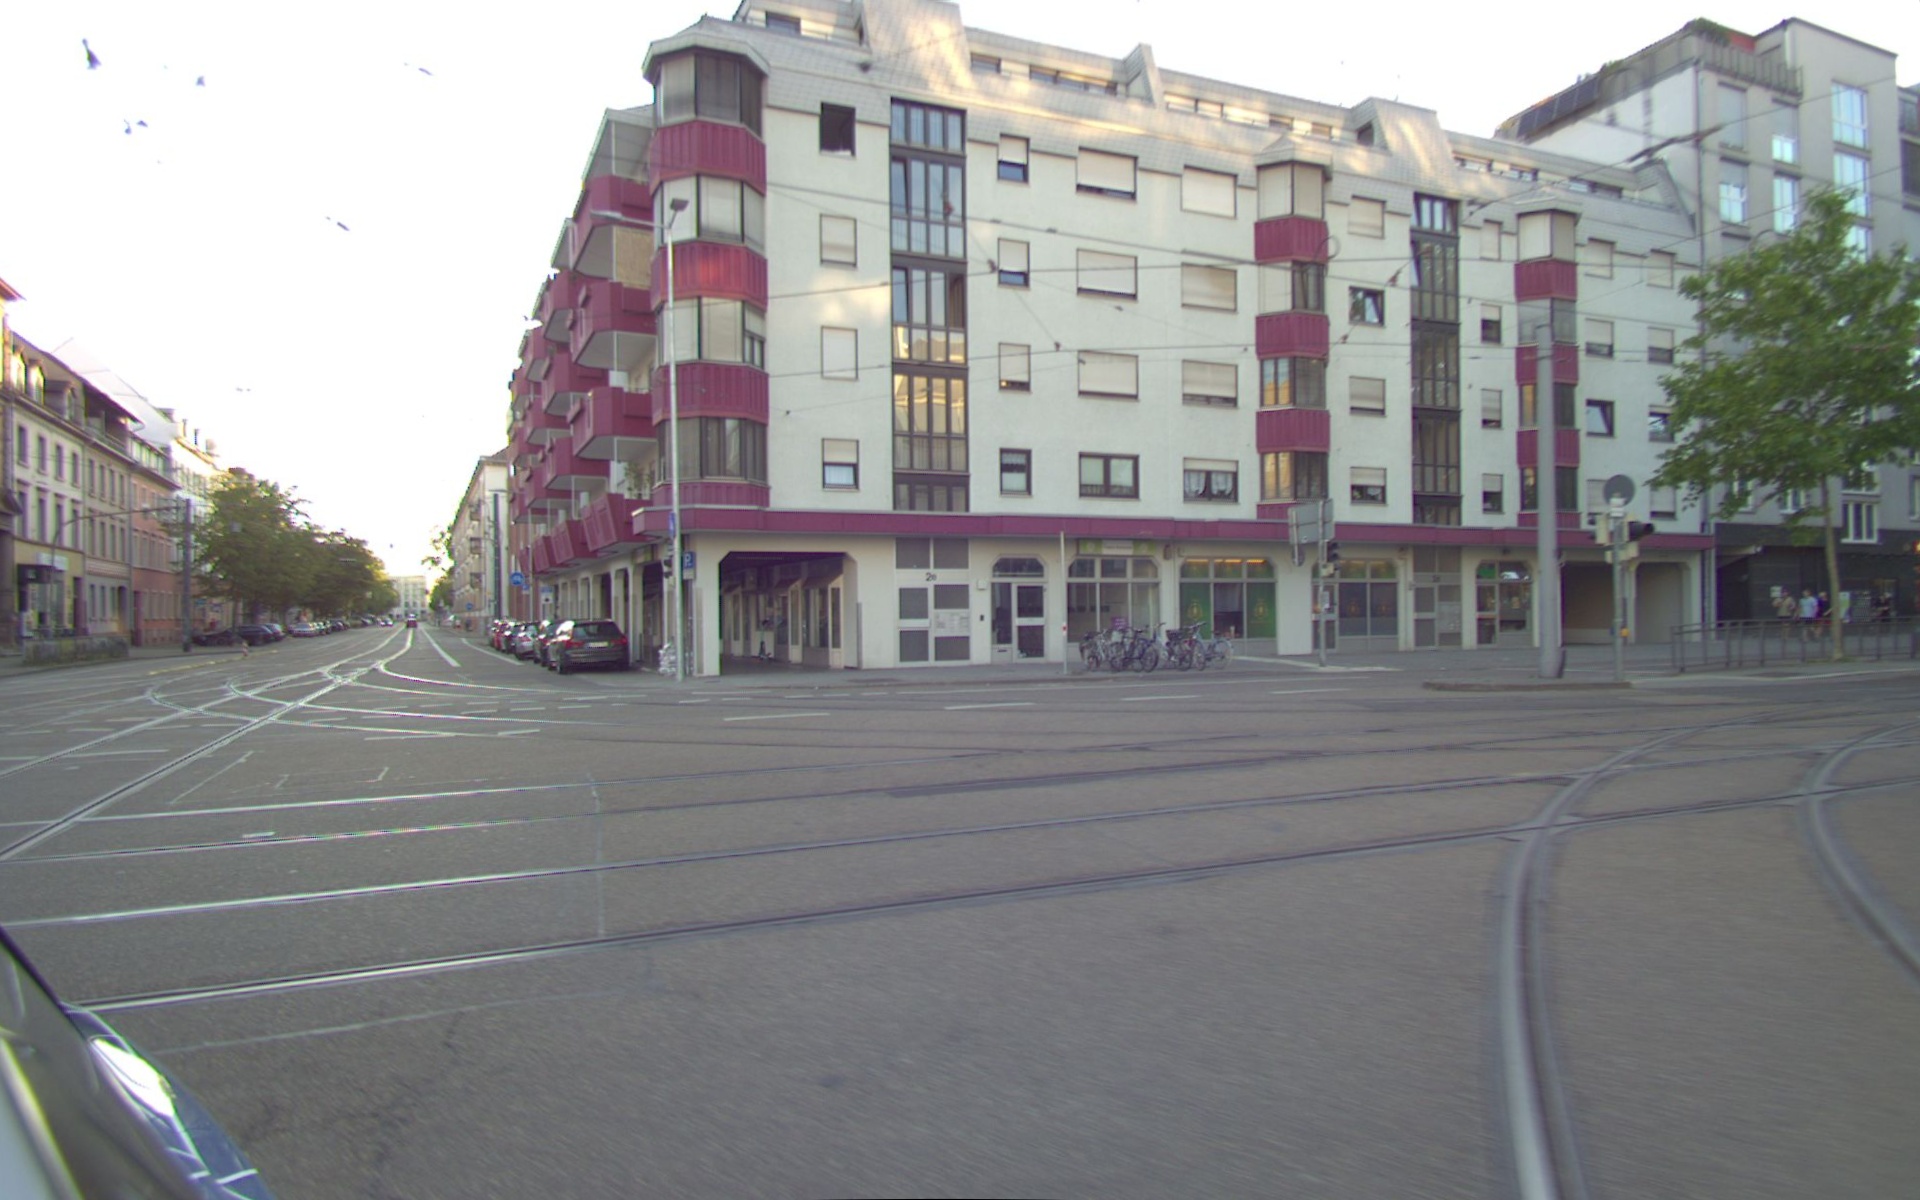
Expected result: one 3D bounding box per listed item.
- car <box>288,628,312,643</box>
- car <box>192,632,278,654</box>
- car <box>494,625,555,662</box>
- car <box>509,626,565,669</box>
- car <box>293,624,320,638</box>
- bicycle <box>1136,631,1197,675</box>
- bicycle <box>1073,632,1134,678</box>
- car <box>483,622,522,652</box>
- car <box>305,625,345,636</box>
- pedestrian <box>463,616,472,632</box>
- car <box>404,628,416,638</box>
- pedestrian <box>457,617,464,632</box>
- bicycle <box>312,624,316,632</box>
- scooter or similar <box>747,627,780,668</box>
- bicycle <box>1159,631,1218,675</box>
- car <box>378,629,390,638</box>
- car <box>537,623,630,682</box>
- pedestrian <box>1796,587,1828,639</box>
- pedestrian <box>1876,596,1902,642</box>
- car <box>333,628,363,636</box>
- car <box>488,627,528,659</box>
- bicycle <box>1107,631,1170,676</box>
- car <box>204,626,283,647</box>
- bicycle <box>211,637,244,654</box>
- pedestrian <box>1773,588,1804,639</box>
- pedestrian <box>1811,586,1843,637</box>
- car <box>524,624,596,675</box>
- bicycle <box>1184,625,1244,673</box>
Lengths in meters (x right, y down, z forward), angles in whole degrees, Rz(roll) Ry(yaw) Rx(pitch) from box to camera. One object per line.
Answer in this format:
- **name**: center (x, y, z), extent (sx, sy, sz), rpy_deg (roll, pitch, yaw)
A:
- **car**: center (-64.151, 3.415, 98.368), extent (1.596, 1.391, 3.788), rpy_deg (1, -2, -29)
- **car**: center (-50.286, 2.941, 70.264), extent (1.708, 1.468, 4.562), rpy_deg (-1, -2, 37)
- **car**: center (-20.145, 1.983, 46.754), extent (1.966, 1.490, 4.495), rpy_deg (-3, 1, -31)
- **car**: center (-16.525, 1.789, 39.380), extent (1.668, 1.424, 4.692), rpy_deg (-3, 0, -26)
- **car**: center (-66.909, 3.137, 103.653), extent (1.755, 1.391, 4.706), rpy_deg (1, -2, -26)
- **bicycle**: center (4.853, 1.223, 23.861), extent (0.586, 0.965, 1.846), rpy_deg (-1, -1, -17)
- **bicycle**: center (3.293, 1.255, 23.400), extent (0.662, 0.965, 1.846), rpy_deg (-1, -1, -17)
- **car**: center (-25.953, 2.048, 57.311), extent (1.693, 1.567, 4.217), rpy_deg (-2, 0, -28)
- **car**: center (-85.647, 4.145, 136.523), extent (1.720, 1.475, 4.328), rpy_deg (-2, -2, 44)
- **pedestrian**: center (-52.197, 2.534, 107.277), extent (0.784, 1.714, 0.984), rpy_deg (-1, -1, -31)
- **car**: center (-87.124, 5.249, 160.400), extent (1.537, 1.570, 3.766), rpy_deg (1, -2, -31)
- **pedestrian**: center (-52.824, 2.593, 106.987), extent (0.582, 1.622, 0.813), rpy_deg (-1, -1, -31)
- **bicycle**: center (-112.219, 4.860, 175.916), extent (0.463, 1.219, 1.788), rpy_deg (-1, -1, -29)
- **scooter or similar**: center (-5.818, 1.387, 29.917), extent (0.541, 1.174, 1.484), rpy_deg (-1, -1, -28)
- **bicycle**: center (5.407, 1.229, 24.043), extent (0.490, 0.965, 1.846), rpy_deg (-1, -1, -17)
- **car**: center (-116.305, 6.809, 204.460), extent (1.966, 1.696, 4.012), rpy_deg (-2, -1, -28)
- **car**: center (-10.833, 1.425, 28.897), extent (1.826, 1.468, 5.102), rpy_deg (-1, 0, -28)
- **pedestrian**: center (29.687, 0.441, 35.262), extent (0.538, 1.789, 0.657), rpy_deg (-1, -1, -24)
- **pedestrian**: center (36.188, 0.730, 39.433), extent (0.643, 1.789, 0.549), rpy_deg (0, -1, -32)
- **car**: center (-118.401, 6.260, 195.912), extent (1.806, 1.529, 4.581), rpy_deg (-2, -3, 35)
- **car**: center (-23.220, 2.175, 51.926), extent (1.589, 1.490, 3.490), rpy_deg (-3, 1, -27)
- **bicycle**: center (4.143, 1.226, 23.636), extent (0.662, 0.965, 1.846), rpy_deg (-1, -1, -17)
- **car**: center (-53.519, 2.704, 75.662), extent (2.061, 1.528, 4.401), rpy_deg (-1, -2, 38)
- **bicycle**: center (-49.215, 3.083, 68.008), extent (1.666, 1.110, 0.931), rpy_deg (1, -2, -29)
- **pedestrian**: center (29.705, 0.481, 36.282), extent (0.538, 1.789, 0.657), rpy_deg (-1, -1, -24)
- **pedestrian**: center (30.717, 0.415, 35.876), extent (0.538, 1.789, 0.657), rpy_deg (-1, -1, -24)
- **car**: center (-13.605, 1.615, 34.276), extent (1.763, 1.519, 4.213), rpy_deg (-2, 0, -28)
- **bicycle**: center (6.007, 1.146, 24.066), extent (0.490, 1.069, 1.846), rpy_deg (-1, -1, -17)
